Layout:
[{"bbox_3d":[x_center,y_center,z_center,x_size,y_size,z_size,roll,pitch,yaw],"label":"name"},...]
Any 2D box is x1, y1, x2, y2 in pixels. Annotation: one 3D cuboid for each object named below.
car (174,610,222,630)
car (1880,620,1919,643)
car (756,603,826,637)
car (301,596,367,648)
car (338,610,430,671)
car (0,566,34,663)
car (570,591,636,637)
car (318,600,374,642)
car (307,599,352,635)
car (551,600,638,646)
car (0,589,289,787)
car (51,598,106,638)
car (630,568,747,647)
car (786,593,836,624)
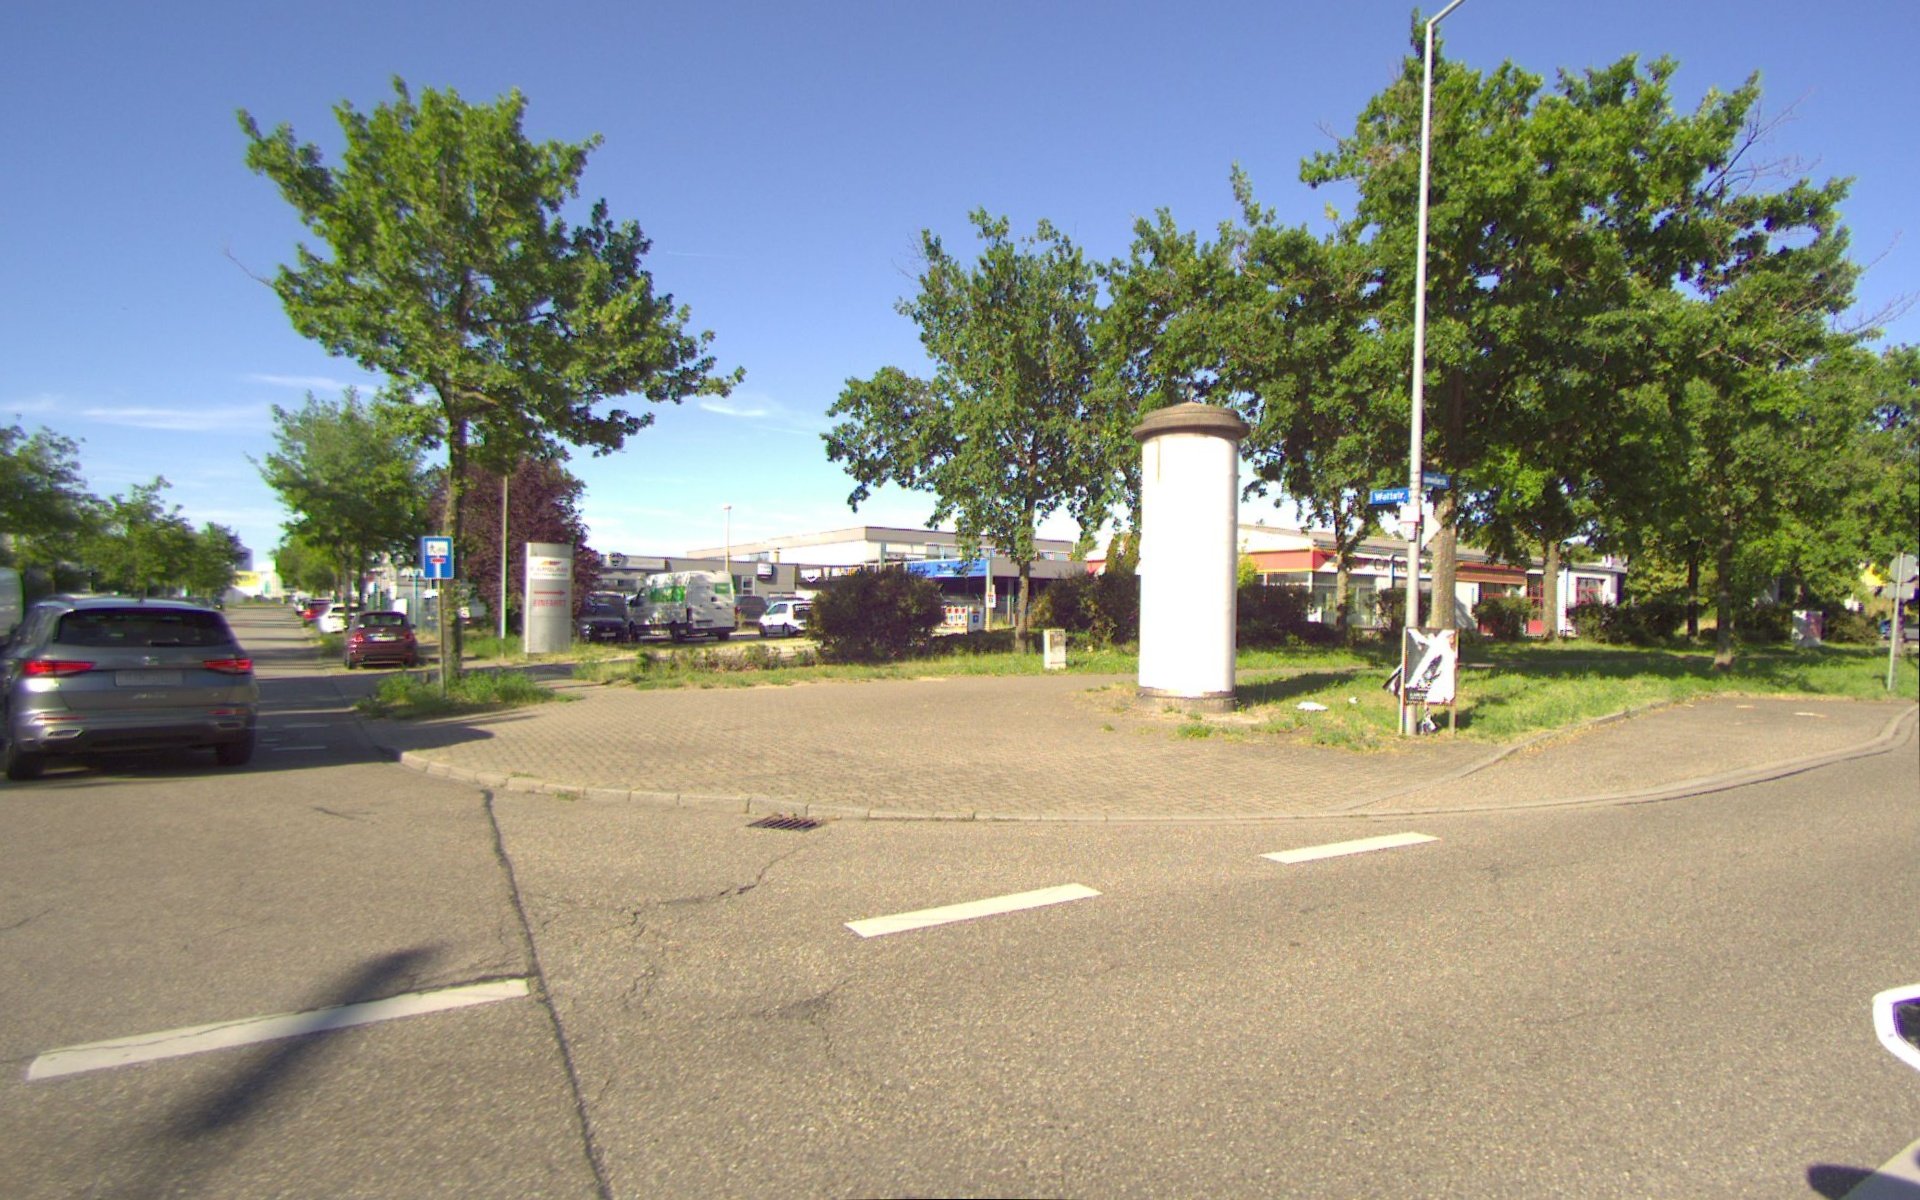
[{"bbox_3d":[-47.733,1.240,62.970,1.598,1.120,3.756,1,-1,-25],"label":"car"},{"bbox_3d":[66.606,2.204,69.409,1.746,1.499,4.192,2,0,-36],"label":"car"},{"bbox_3d":[-7.051,0.804,41.756,1.559,1.319,3.500,1,0,-34],"label":"car"},{"bbox_3d":[-28.977,0.981,46.422,2.278,2.132,5.307,2,0,-35],"label":"car"},{"bbox_3d":[-15.826,1.047,27.495,1.806,1.501,4.163,-1,0,-35],"label":"car"},{"bbox_3d":[-27.149,0.335,27.116,2.278,2.549,6.295,2,0,-35],"label":"car"},{"bbox_3d":[-17.087,0.654,47.976,1.867,1.992,4.210,2,0,-35],"label":"car"},{"bbox_3d":[-34.362,1.144,56.158,2.278,2.132,5.307,2,0,-35],"label":"car"},{"bbox_3d":[-41.215,1.085,65.622,2.183,2.132,4.895,2,0,-35],"label":"car"},{"bbox_3d":[-13.566,0.801,37.106,1.867,1.571,4.615,1,0,-35],"label":"car"},{"bbox_3d":[-8.539,0.766,10.306,4.237,1.616,1.750,0,-3,42],"label":"car"},{"bbox_3d":[-36.967,0.739,42.160,1.497,1.594,3.109,1,0,-38],"label":"car"},{"bbox_3d":[-10.419,0.216,38.161,2.278,2.739,6.118,2,1,-35],"label":"car"},{"bbox_3d":[-10.178,0.561,68.256,1.865,2.040,3.963,1,0,-33],"label":"car"}]
